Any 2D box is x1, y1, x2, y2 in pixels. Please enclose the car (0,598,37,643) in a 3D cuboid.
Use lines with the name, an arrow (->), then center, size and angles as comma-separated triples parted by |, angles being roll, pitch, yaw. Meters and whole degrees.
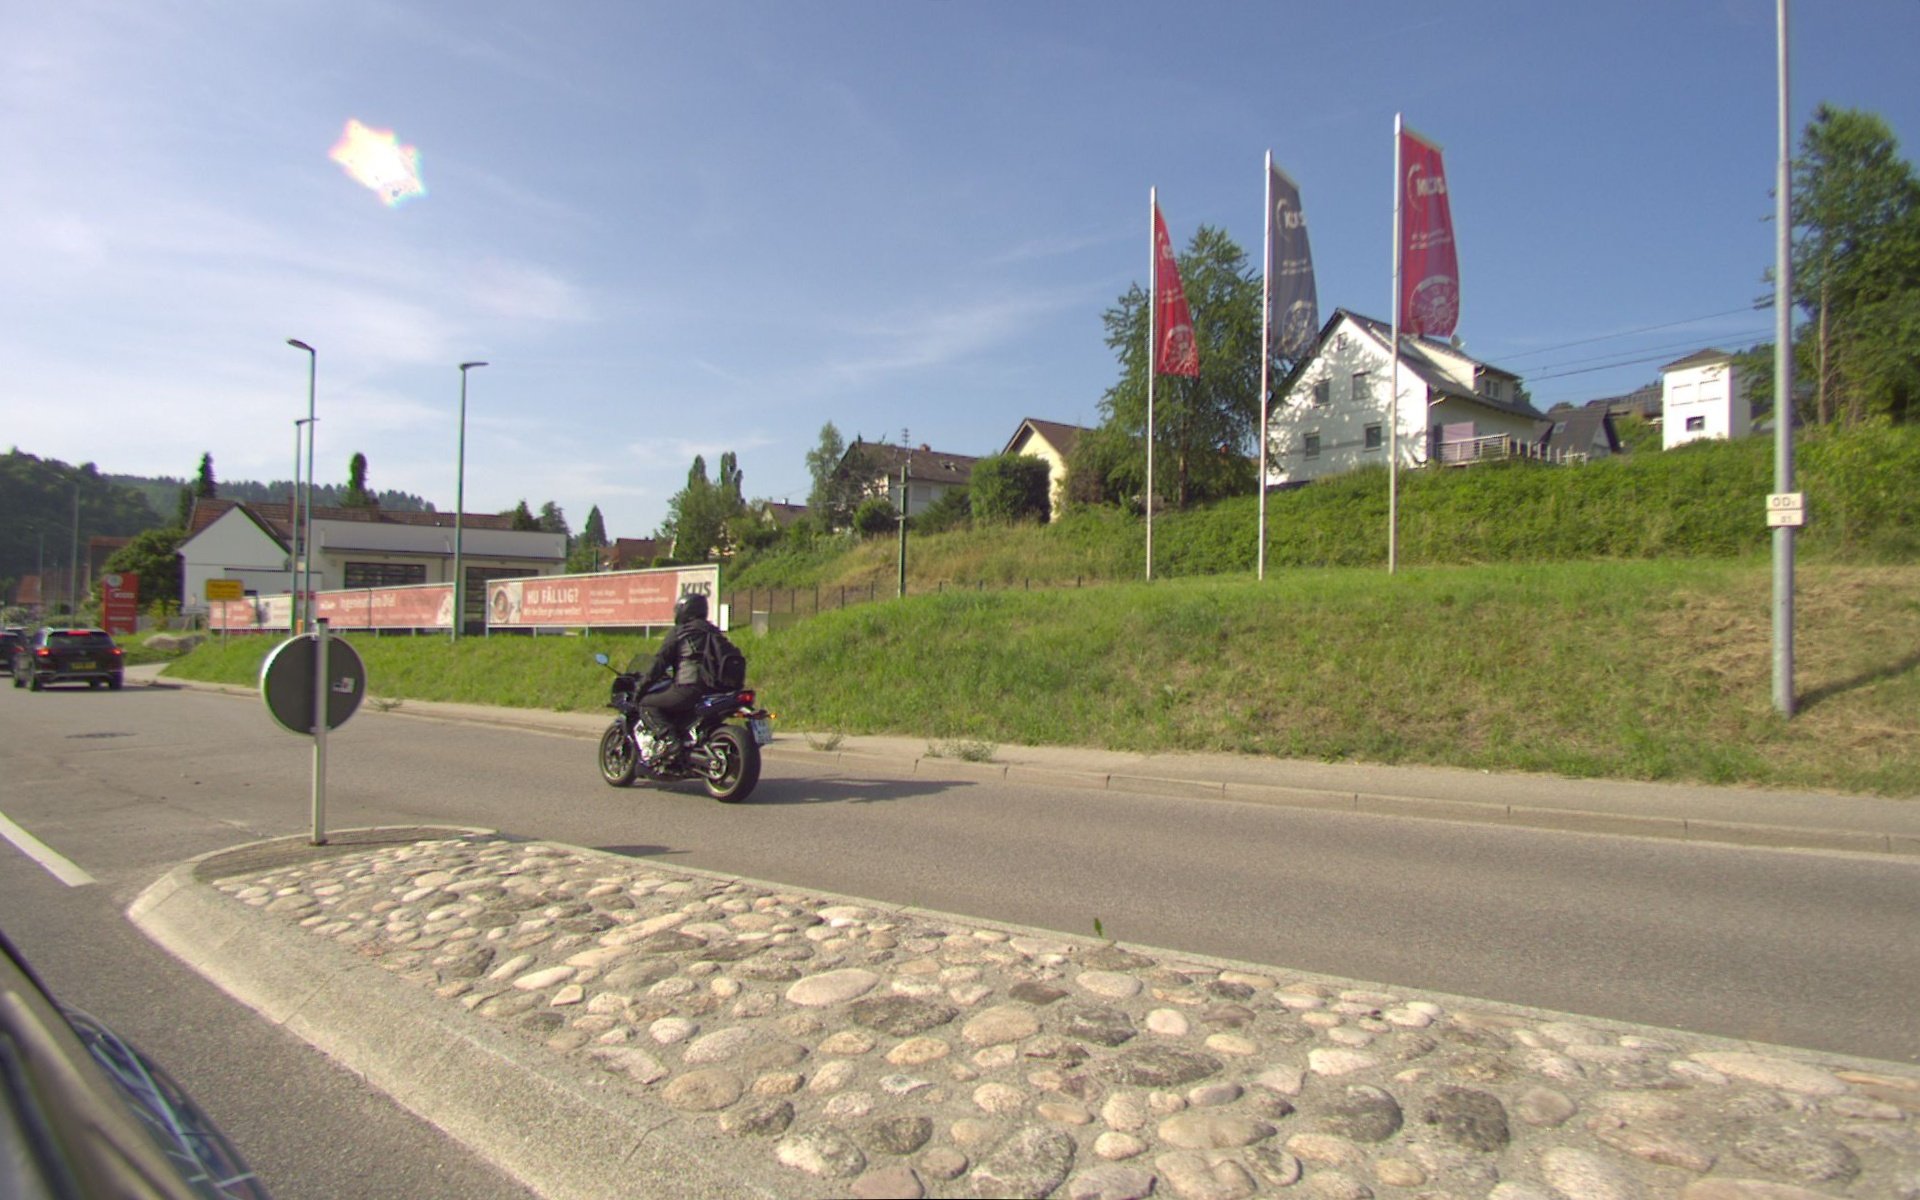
car -> -32.002, 0.652, 33.267 | 4.267, 1.418, 1.757 | -1, -2, 39

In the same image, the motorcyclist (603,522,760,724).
motorcyclist -> -2.252, 0.193, 8.251 | 0.844, 1.530, 0.898 | -1, -3, 31

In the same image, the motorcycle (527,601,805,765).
motorcycle -> -2.462, 0.623, 8.380 | 2.297, 1.192, 0.888 | 0, -2, 32

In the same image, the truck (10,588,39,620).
truck -> -122.464, 0.551, 132.411 | 2.547, 3.961, 11.316 | 3, -3, -43

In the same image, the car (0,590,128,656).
car -> -22.804, 0.596, 25.673 | 4.266, 1.528, 1.758 | -1, -2, 38
